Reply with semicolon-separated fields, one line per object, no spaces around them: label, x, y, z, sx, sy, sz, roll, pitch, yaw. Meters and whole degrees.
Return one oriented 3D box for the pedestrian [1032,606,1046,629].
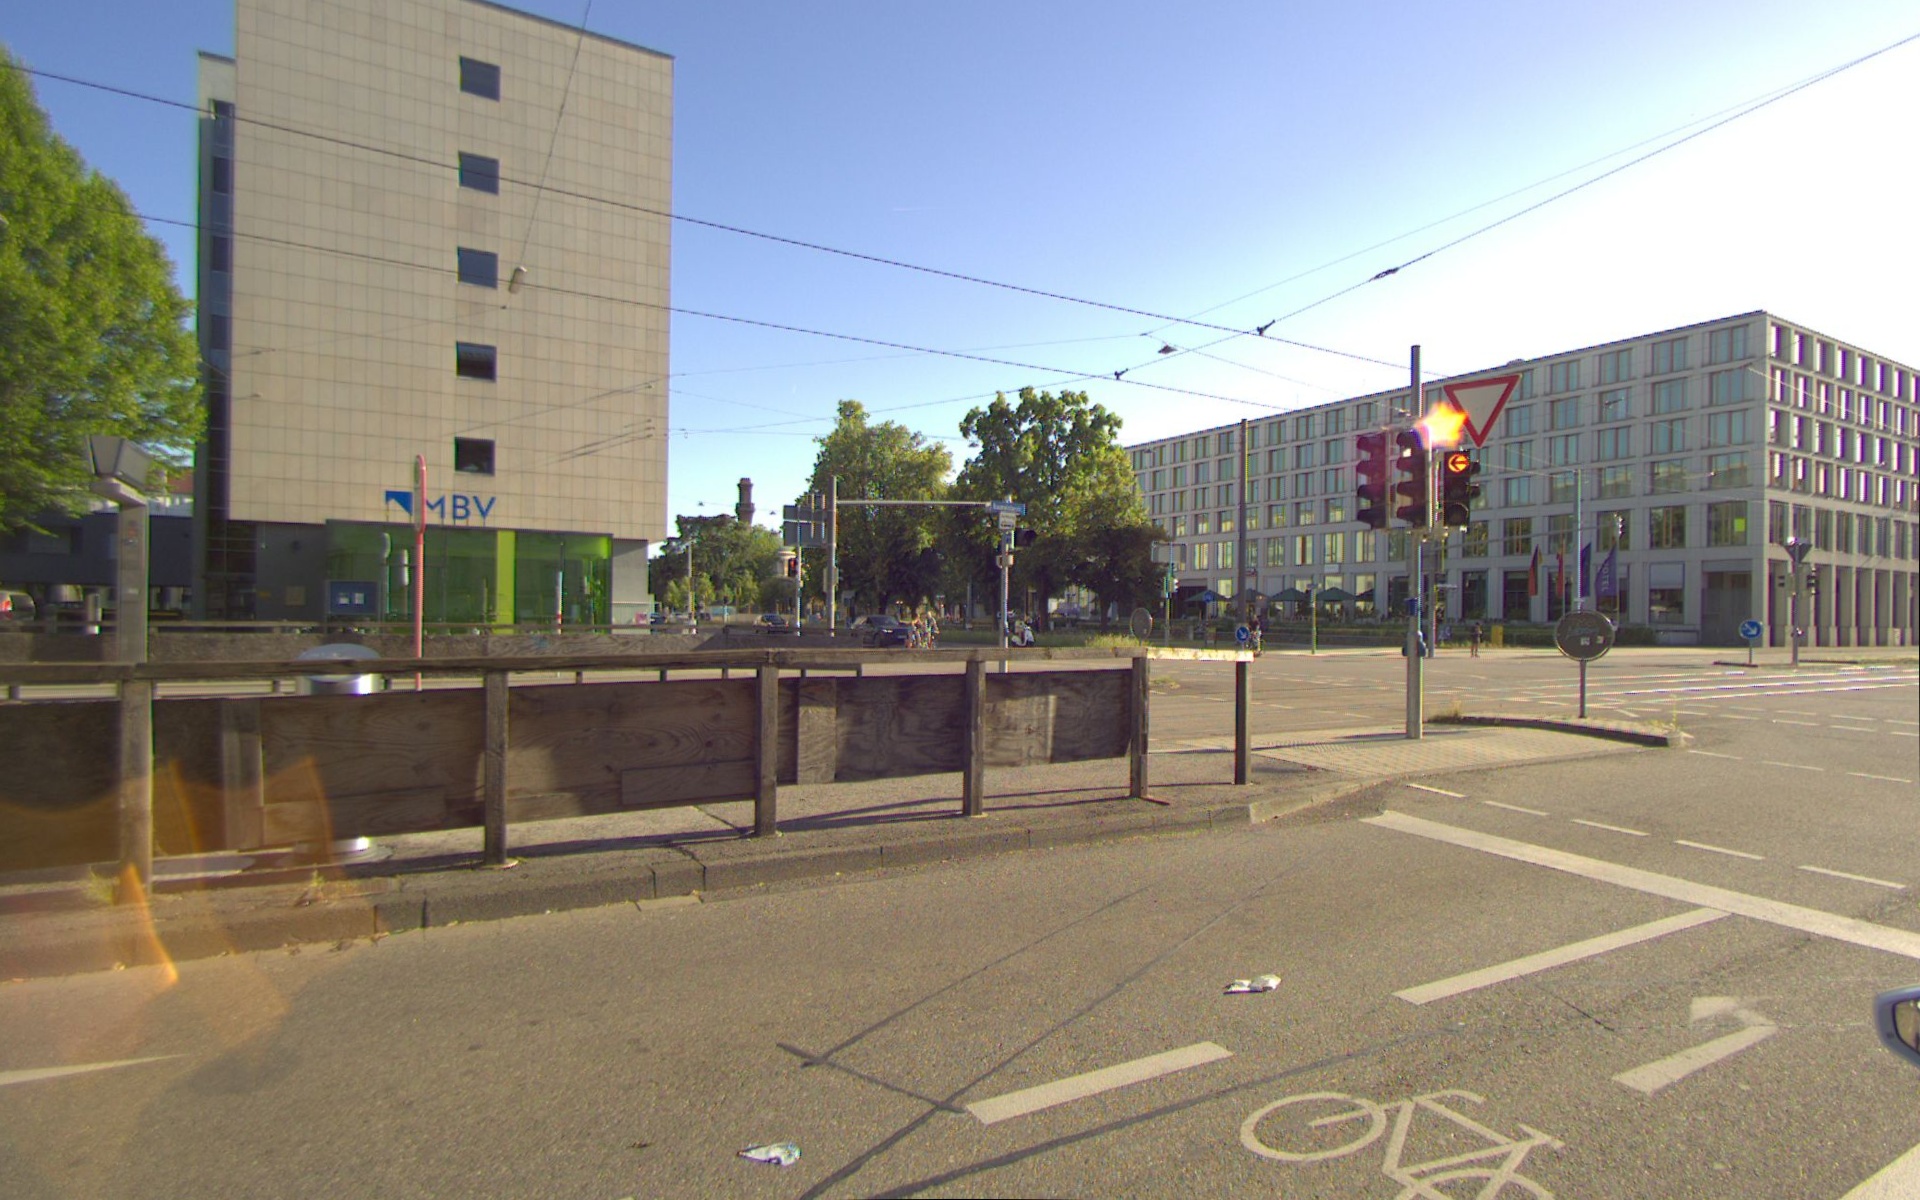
pedestrian;6.264;1.390;79.626;0.858;1.738;0.737;2;0;-26

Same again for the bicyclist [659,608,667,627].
bicyclist;-27.401;1.620;92.677;0.576;1.658;0.890;1;-1;-27

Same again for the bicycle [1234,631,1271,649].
bicycle;13.588;1.868;46.591;1.831;0.798;0.532;1;-1;-31

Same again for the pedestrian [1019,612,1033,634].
pedestrian;5.219;1.823;79.481;0.858;1.738;0.737;2;0;-26

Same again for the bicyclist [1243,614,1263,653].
bicyclist;13.601;1.534;46.613;0.762;1.784;0.532;1;-1;-30

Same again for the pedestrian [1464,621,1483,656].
pedestrian;25.050;1.878;49.024;0.597;1.703;0.602;1;-1;-22

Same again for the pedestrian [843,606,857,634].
pedestrian;-8.152;1.506;74.142;0.772;2.040;0.747;1;-1;-31

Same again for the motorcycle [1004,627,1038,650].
motorcycle;2.853;1.784;46.962;0.624;1.030;1.972;-3;1;-28

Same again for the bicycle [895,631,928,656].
bicycle;-2.032;1.813;42.026;0.577;1.032;1.806;1;-2;-31

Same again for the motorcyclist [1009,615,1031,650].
motorcyclist;2.812;1.502;46.993;0.624;1.601;0.812;-3;1;-28

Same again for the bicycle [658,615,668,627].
bicycle;-27.423;1.943;92.720;0.576;1.032;1.666;1;-1;-27

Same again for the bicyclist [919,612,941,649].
bicyclist;-1.267;1.293;42.423;0.576;1.563;0.890;1;-1;-27

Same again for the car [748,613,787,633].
car;-14.633;1.717;76.301;1.674;1.506;3.719;1;-1;-33

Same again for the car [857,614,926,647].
car;-3.467;1.527;50.264;1.925;1.561;3.969;2;-2;-29

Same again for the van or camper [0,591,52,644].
van or camper;-27.881;0.408;27.568;3.954;1.425;1.954;4;-3;-30

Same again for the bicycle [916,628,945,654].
bicycle;-1.260;1.726;42.388;0.576;1.032;1.666;1;-1;-27

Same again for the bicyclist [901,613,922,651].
bicyclist;-2.027;1.335;42.022;0.577;1.563;0.833;1;-2;-32
